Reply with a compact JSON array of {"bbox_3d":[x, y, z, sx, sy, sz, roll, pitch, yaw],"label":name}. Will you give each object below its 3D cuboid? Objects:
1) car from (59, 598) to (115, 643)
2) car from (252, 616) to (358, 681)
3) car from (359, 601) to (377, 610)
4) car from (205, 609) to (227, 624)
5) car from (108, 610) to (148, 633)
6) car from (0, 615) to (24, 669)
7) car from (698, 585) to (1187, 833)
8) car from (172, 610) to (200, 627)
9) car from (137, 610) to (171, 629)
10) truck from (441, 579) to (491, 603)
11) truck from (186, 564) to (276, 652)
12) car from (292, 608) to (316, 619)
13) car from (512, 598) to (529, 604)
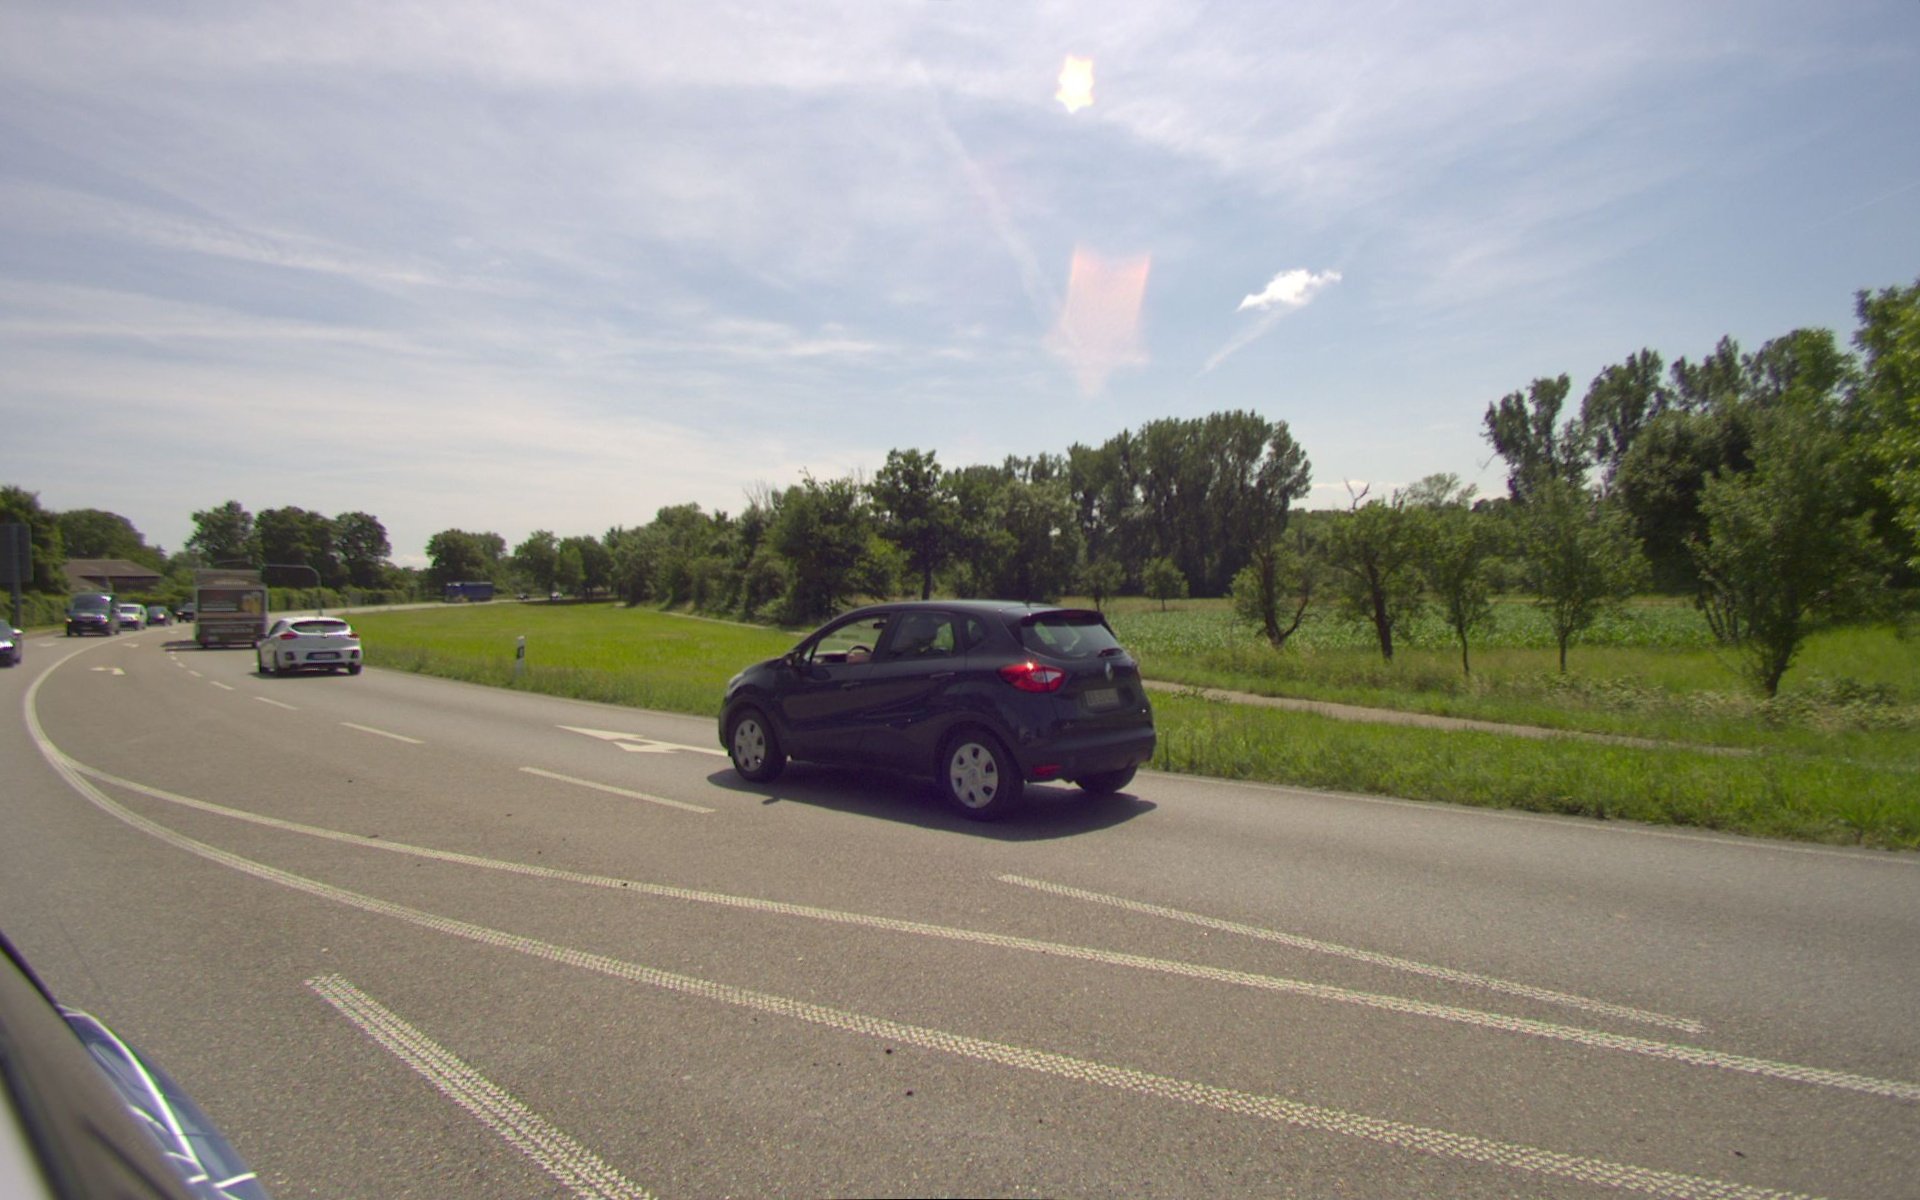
[{"bbox_3d":[-50.976,1.178,59.183,1.949,2.538,4.169,0,-1,-33],"label":"car"},{"bbox_3d":[-16.501,1.161,25.415,1.597,1.473,4.005,0,-1,-42],"label":"car"},{"bbox_3d":[-98.518,0.896,168.380,1.754,1.504,4.170,0,-1,-17],"label":"car"},{"bbox_3d":[-81.220,1.794,110.494,1.754,1.504,4.169,0,-1,-33],"label":"car"},{"bbox_3d":[-58.268,1.485,70.914,1.754,1.504,4.169,0,-1,-33],"label":"car"},{"bbox_3d":[-28.607,1.230,29.464,1.756,1.504,4.164,-1,-1,-40],"label":"car"},{"bbox_3d":[-0.316,0.713,8.340,3.998,1.570,1.599,-1,-1,41],"label":"car"},{"bbox_3d":[-71.491,1.668,93.540,1.754,1.504,4.169,0,-1,-33],"label":"car"},{"bbox_3d":[-65.125,1.580,81.822,1.754,1.504,4.169,0,-1,-33],"label":"car"},{"bbox_3d":[-100.214,-1.836,205.766,2.706,4.643,16.167,-1,0,-2],"label":"truck"},{"bbox_3d":[-32.463,0.372,44.941,2.930,3.597,6.912,0,-1,-38],"label":"truck"},{"bbox_3d":[-92.203,1.941,142.242,1.754,1.504,4.170,0,-1,-17],"label":"car"},{"bbox_3d":[-100.683,0.237,231.962,1.763,1.504,4.148,-1,0,7],"label":"car"}]
